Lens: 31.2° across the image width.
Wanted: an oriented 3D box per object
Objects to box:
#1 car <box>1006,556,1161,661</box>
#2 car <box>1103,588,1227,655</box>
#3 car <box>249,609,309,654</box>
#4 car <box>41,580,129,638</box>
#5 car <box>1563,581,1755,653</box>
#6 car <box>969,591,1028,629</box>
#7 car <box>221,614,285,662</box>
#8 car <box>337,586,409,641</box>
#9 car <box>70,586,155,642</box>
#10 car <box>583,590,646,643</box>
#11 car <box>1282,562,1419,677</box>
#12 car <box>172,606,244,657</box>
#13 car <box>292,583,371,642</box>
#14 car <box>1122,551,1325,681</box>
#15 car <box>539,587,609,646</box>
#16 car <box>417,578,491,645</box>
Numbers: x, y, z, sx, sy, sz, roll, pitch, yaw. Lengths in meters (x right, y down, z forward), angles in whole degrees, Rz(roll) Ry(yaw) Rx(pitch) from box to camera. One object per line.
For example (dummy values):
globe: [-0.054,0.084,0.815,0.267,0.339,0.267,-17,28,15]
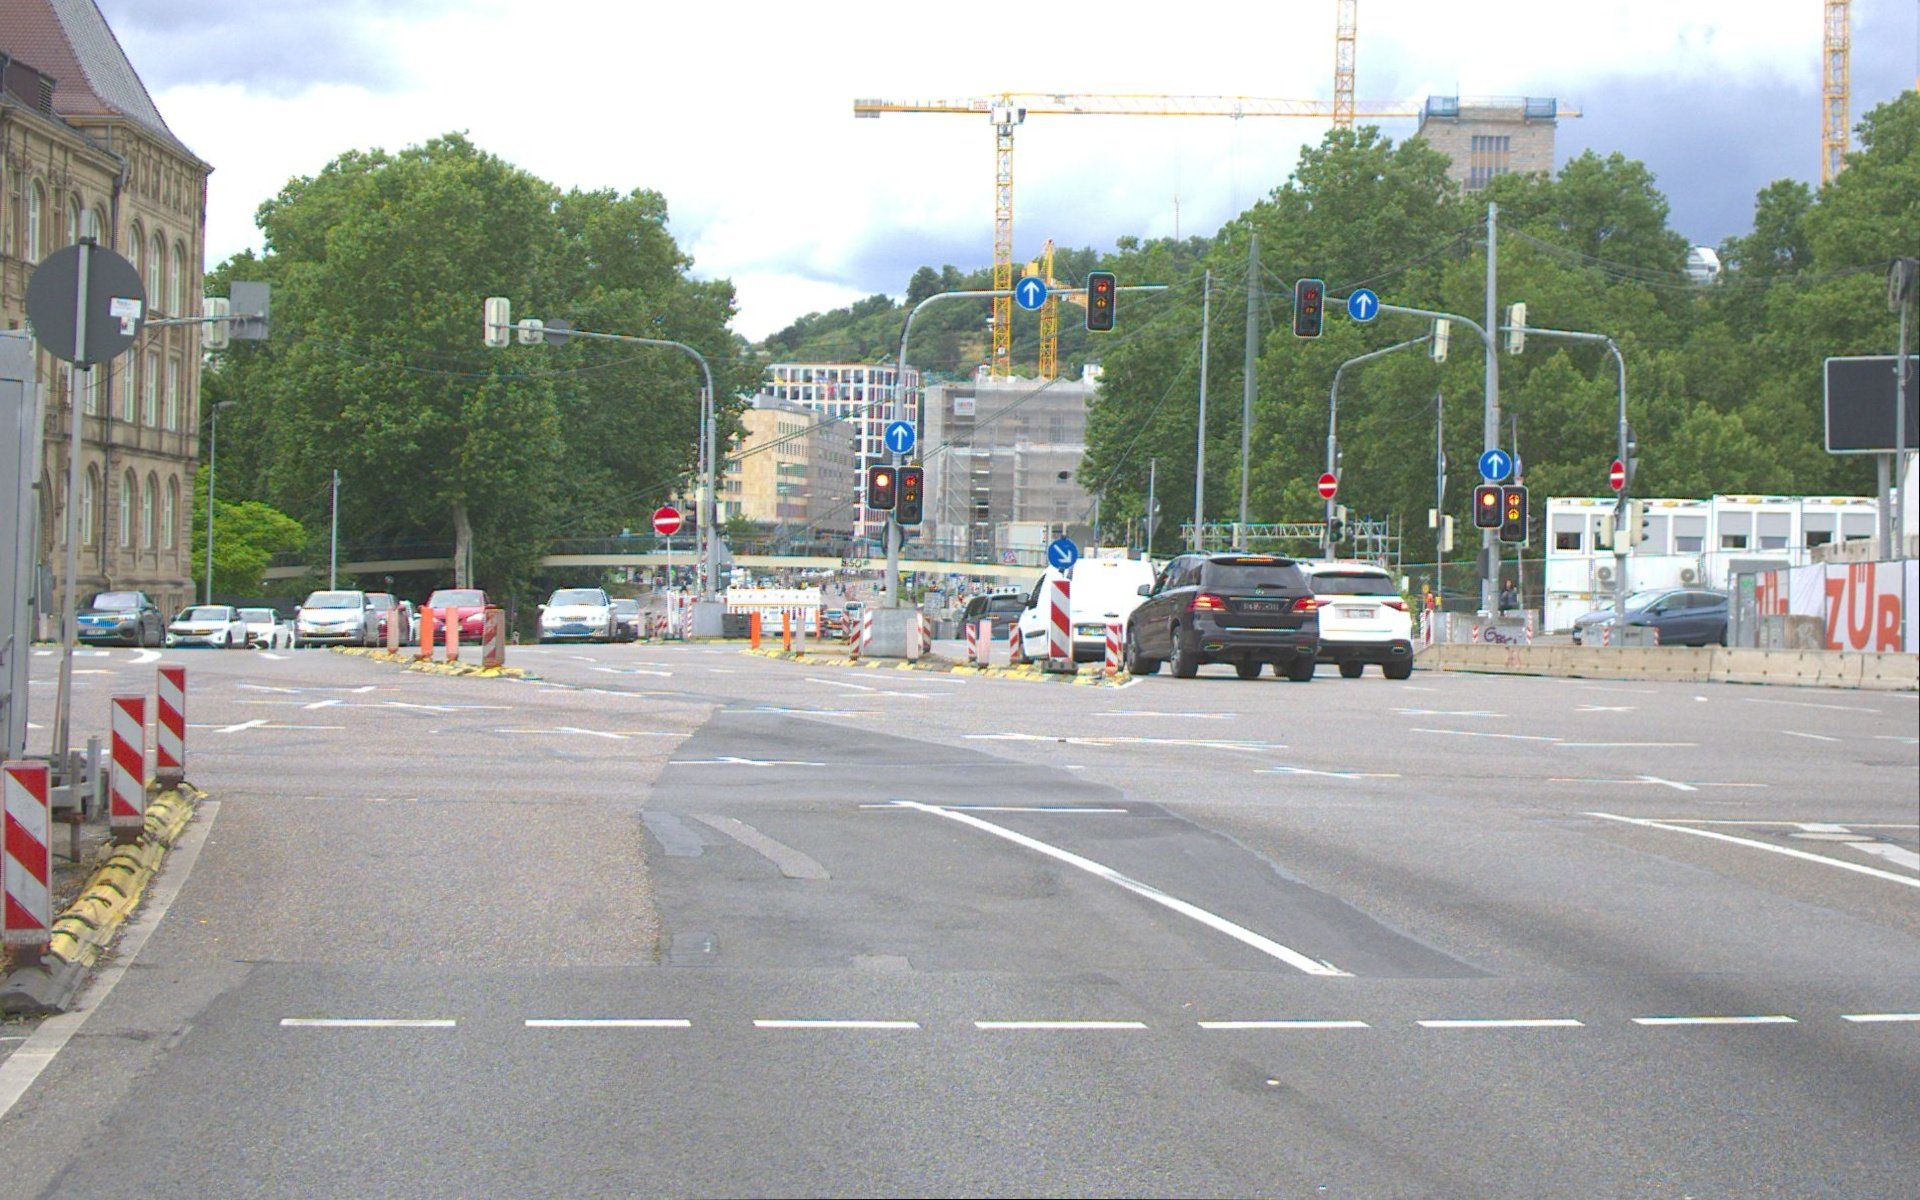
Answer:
car: [1.954,0.108,55.539,1.816,1.619,4.001,1,1,-8]
car: [4.506,0.462,76.001,1.675,1.393,3.087,1,1,-19]
car: [-22.871,1.051,115.535,1.675,1.393,3.684,1,1,-7]
car: [-21.991,0.203,86.498,1.675,1.393,3.684,1,1,-7]
car: [16.254,0.397,80.016,3.986,1.619,1.823,1,0,-19]
car: [1.199,0.300,108.291,1.308,1.071,3.684,1,1,-8]
car: [-22.215,1.189,108.105,1.675,1.393,3.684,1,1,-7]
car: [-15.662,0.340,91.801,1.675,1.393,3.684,1,1,-7]
car: [-21.919,0.350,88.986,1.675,1.393,3.684,1,1,-7]
car: [-9.587,0.442,95.226,1.675,1.393,3.684,1,1,-7]
car: [5.990,0.274,53.059,1.676,1.696,3.374,1,1,-1]
car: [-21.987,0.907,100.621,1.675,1.393,3.684,1,1,-7]
car: [-15.642,0.300,85.640,1.675,1.393,3.684,1,1,-7]
car: [3.664,0.191,48.492,1.831,1.740,4.257,1,1,-10]
car: [-9.560,0.390,85.072,1.675,1.393,3.684,1,1,-7]
car: [-12.448,0.262,84.730,1.675,1.575,3.684,1,1,-7]
